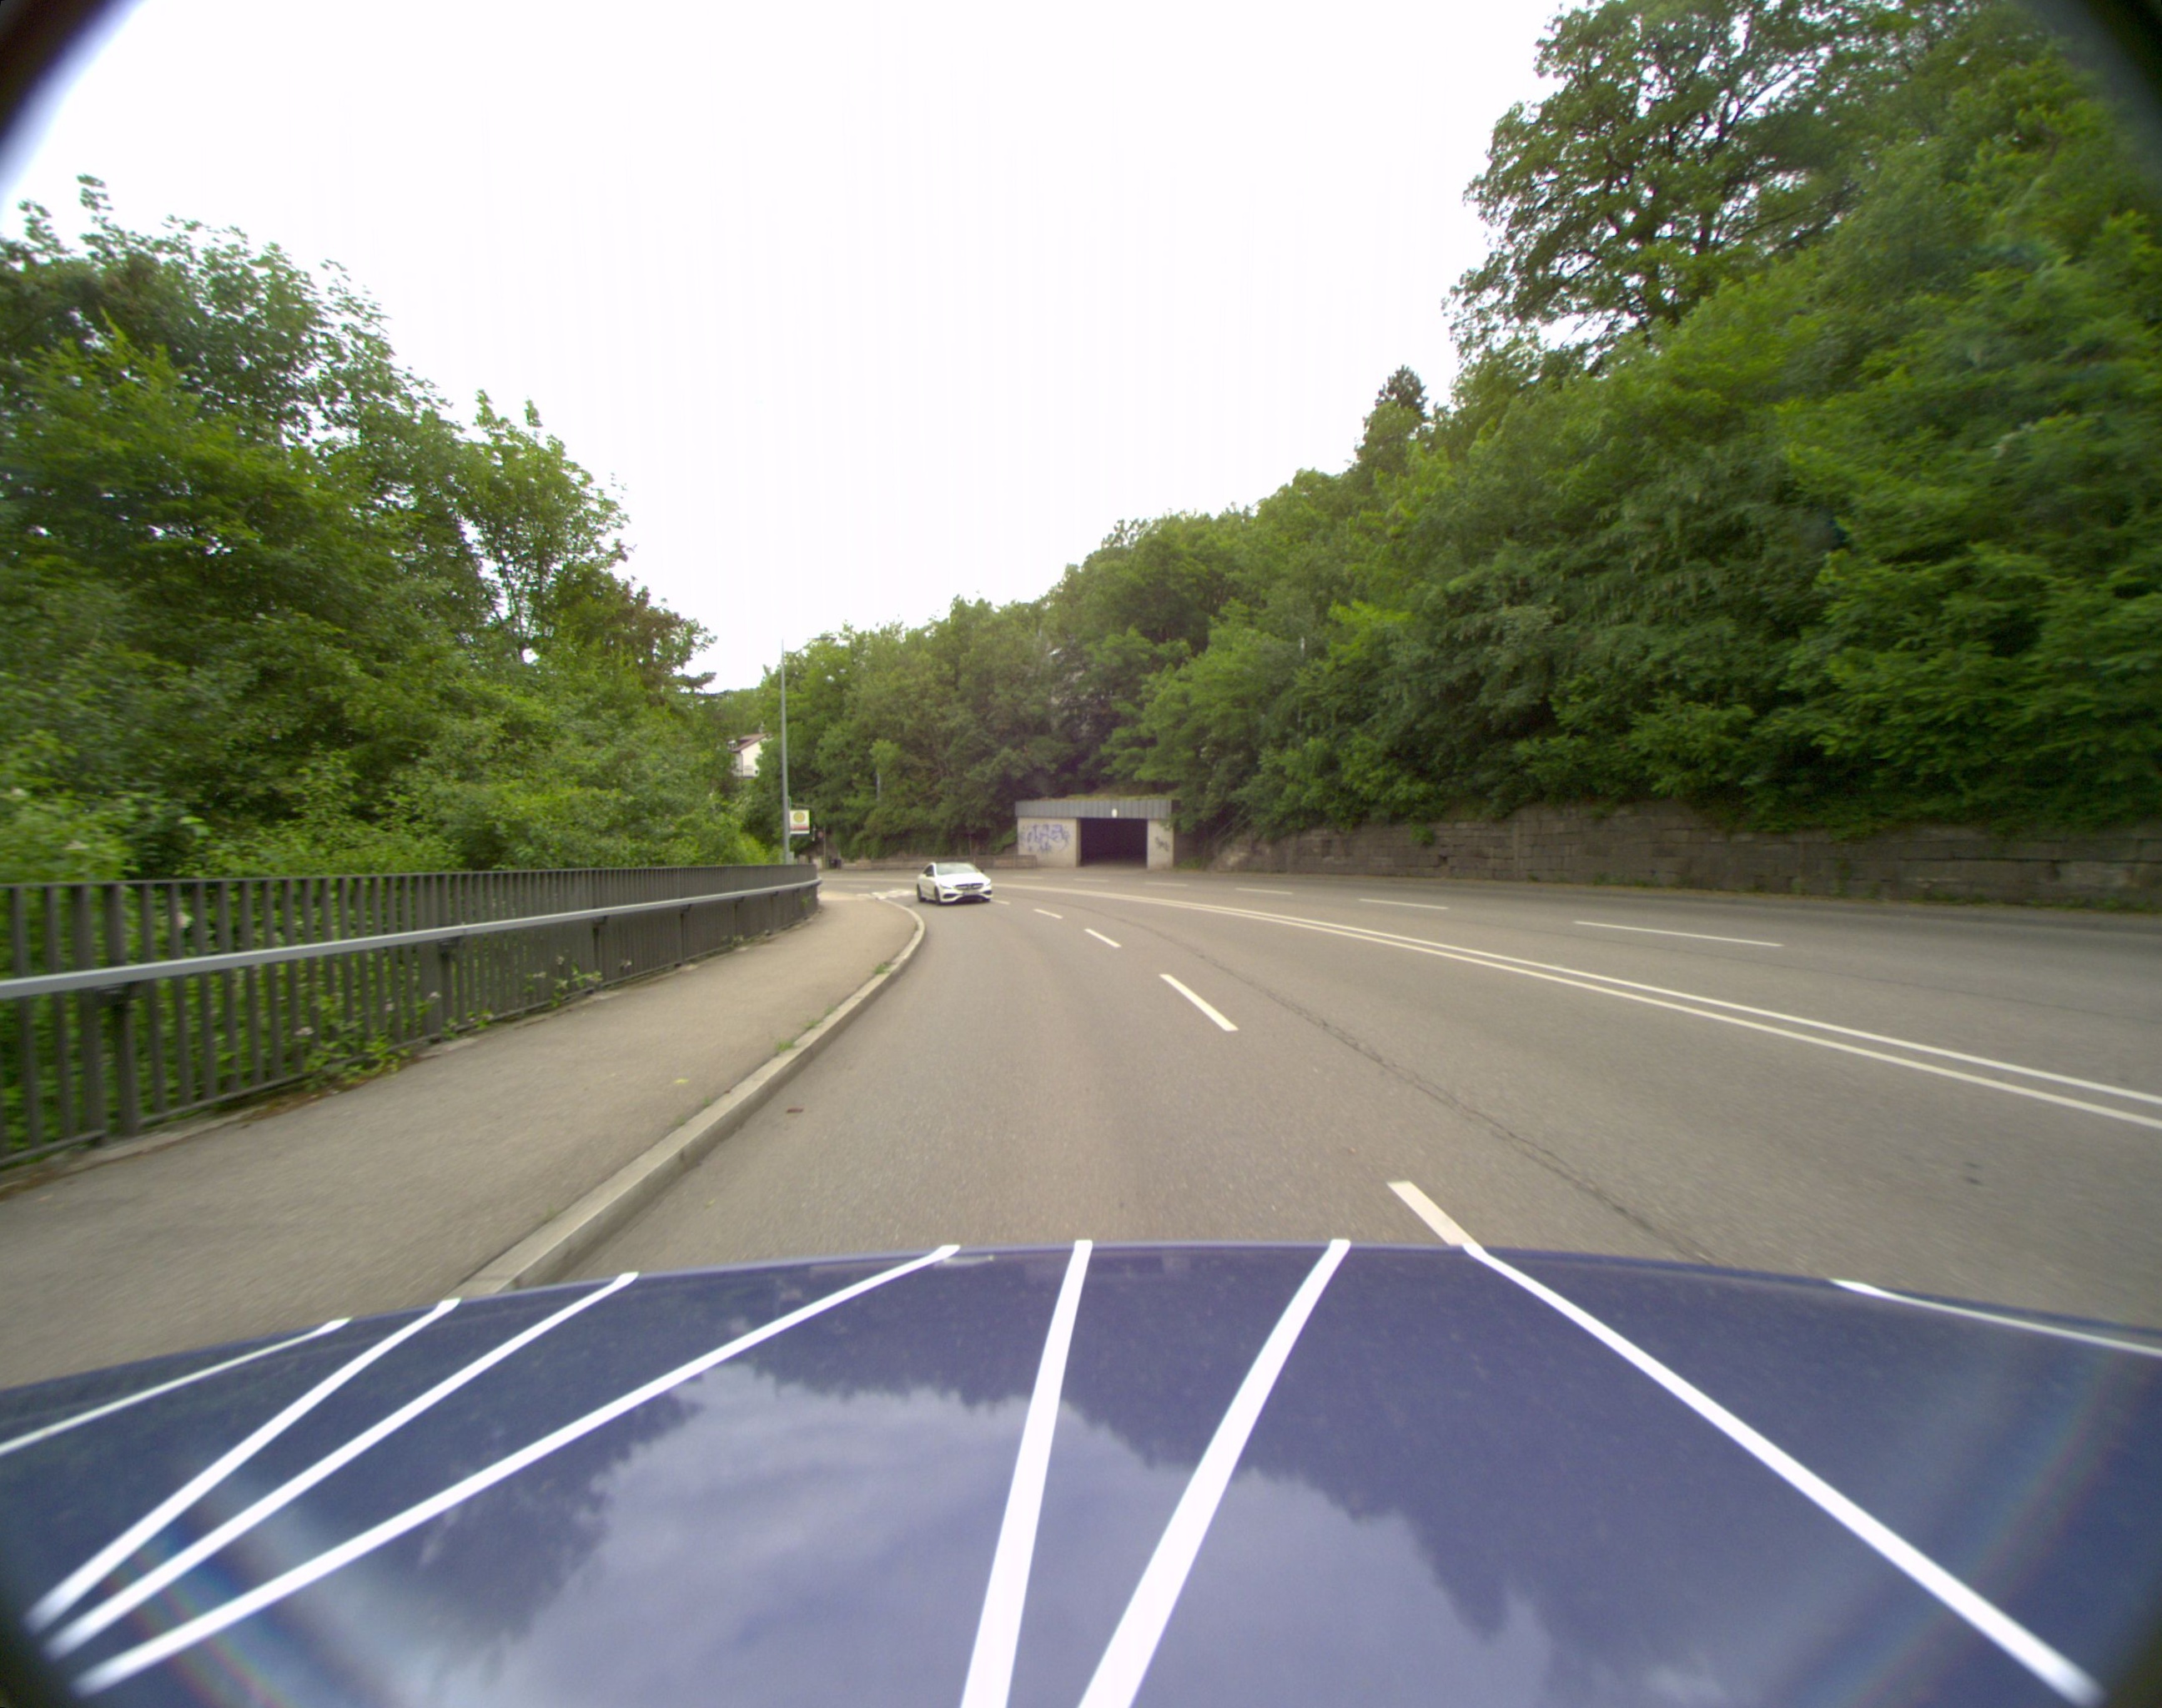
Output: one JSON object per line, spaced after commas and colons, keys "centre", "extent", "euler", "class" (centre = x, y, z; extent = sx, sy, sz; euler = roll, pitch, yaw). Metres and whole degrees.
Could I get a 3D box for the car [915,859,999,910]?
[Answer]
{"centre": [-4.377, 0.987, 26.288], "extent": [1.906, 1.419, 4.257], "euler": [-5, 2, -21], "class": "car"}
